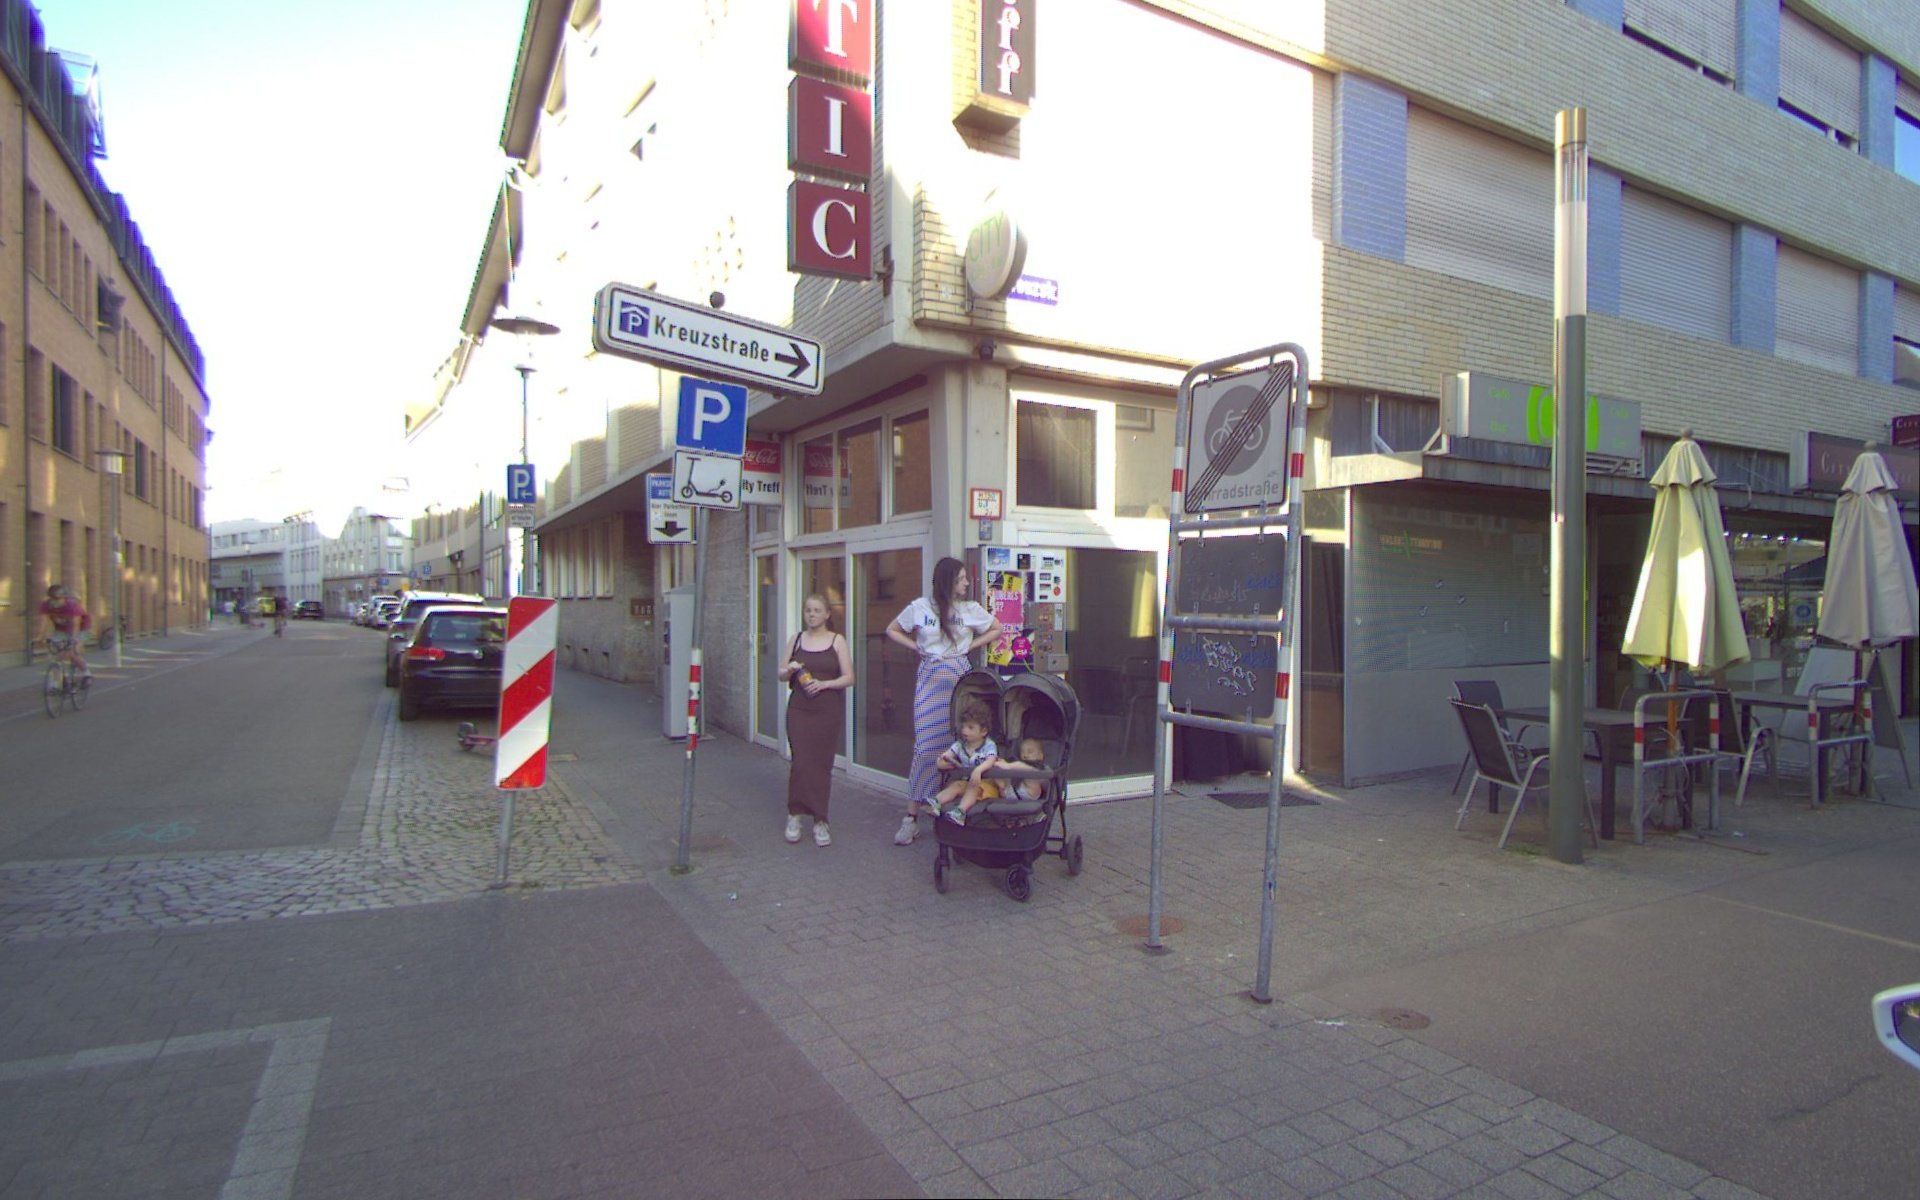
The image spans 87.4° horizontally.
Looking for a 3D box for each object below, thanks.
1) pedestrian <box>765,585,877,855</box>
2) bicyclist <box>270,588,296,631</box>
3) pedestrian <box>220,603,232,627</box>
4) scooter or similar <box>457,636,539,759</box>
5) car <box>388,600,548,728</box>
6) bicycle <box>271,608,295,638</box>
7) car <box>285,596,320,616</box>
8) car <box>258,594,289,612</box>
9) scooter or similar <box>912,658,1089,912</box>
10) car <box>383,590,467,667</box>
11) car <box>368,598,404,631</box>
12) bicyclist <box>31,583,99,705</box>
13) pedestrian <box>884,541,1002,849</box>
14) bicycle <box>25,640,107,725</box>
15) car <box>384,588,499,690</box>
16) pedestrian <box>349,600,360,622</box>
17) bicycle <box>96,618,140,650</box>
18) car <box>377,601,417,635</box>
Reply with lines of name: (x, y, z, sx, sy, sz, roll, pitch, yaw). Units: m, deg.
pedestrian: (-0.885, 0.722, 6.348, 0.526, 1.601, 0.508, -3, 1, -23)
bicyclist: (-27.075, 0.366, 40.172, 0.765, 1.678, 0.948, -3, 1, -35)
pedestrian: (-48.215, 1.013, 65.985, 0.537, 1.565, 0.402, 1, 0, -31)
scooter or similar: (-4.678, 0.967, 10.157, 0.865, 1.199, 0.208, 0, 0, 21)
car: (-6.976, 0.802, 14.088, 1.720, 1.505, 3.781, 3, -1, -29)
bicycle: (-27.057, 0.904, 40.144, 0.698, 1.118, 1.810, -4, 2, -34)
car: (-56.597, 0.519, 86.420, 1.922, 1.673, 3.788, 0, 0, -43)
car: (-67.307, 0.260, 98.450, 1.922, 1.673, 3.788, 2, -1, -43)
scooter or similar: (0.250, 0.930, 5.417, 0.783, 1.159, 0.954, 0, 1, 13)
car: (-13.335, 0.685, 25.007, 1.654, 1.727, 3.981, 3, -2, -29)
car: (-33.326, 0.842, 58.283, 1.675, 1.798, 3.625, 3, -2, -31)
bicyclist: (-11.551, 0.552, 12.985, 0.423, 1.518, 0.869, -2, 1, -28)
pedestrian: (-0.100, 0.572, 6.368, 0.647, 1.844, 0.571, -2, 1, 0)
bicycle: (-11.560, 1.035, 13.024, 0.431, 0.970, 1.579, 0, 0, -28)
car: (-9.712, 0.693, 18.720, 1.654, 1.683, 4.049, 3, -2, -29)
pedestrian: (-41.129, 0.740, 68.223, 0.566, 1.499, 0.469, 0, 0, -37)
bicycle: (-25.292, 1.016, 30.206, 0.636, 0.893, 2.534, 1, -1, -32)
car: (-30.105, 0.934, 53.646, 1.675, 1.701, 3.478, 3, -2, -31)
